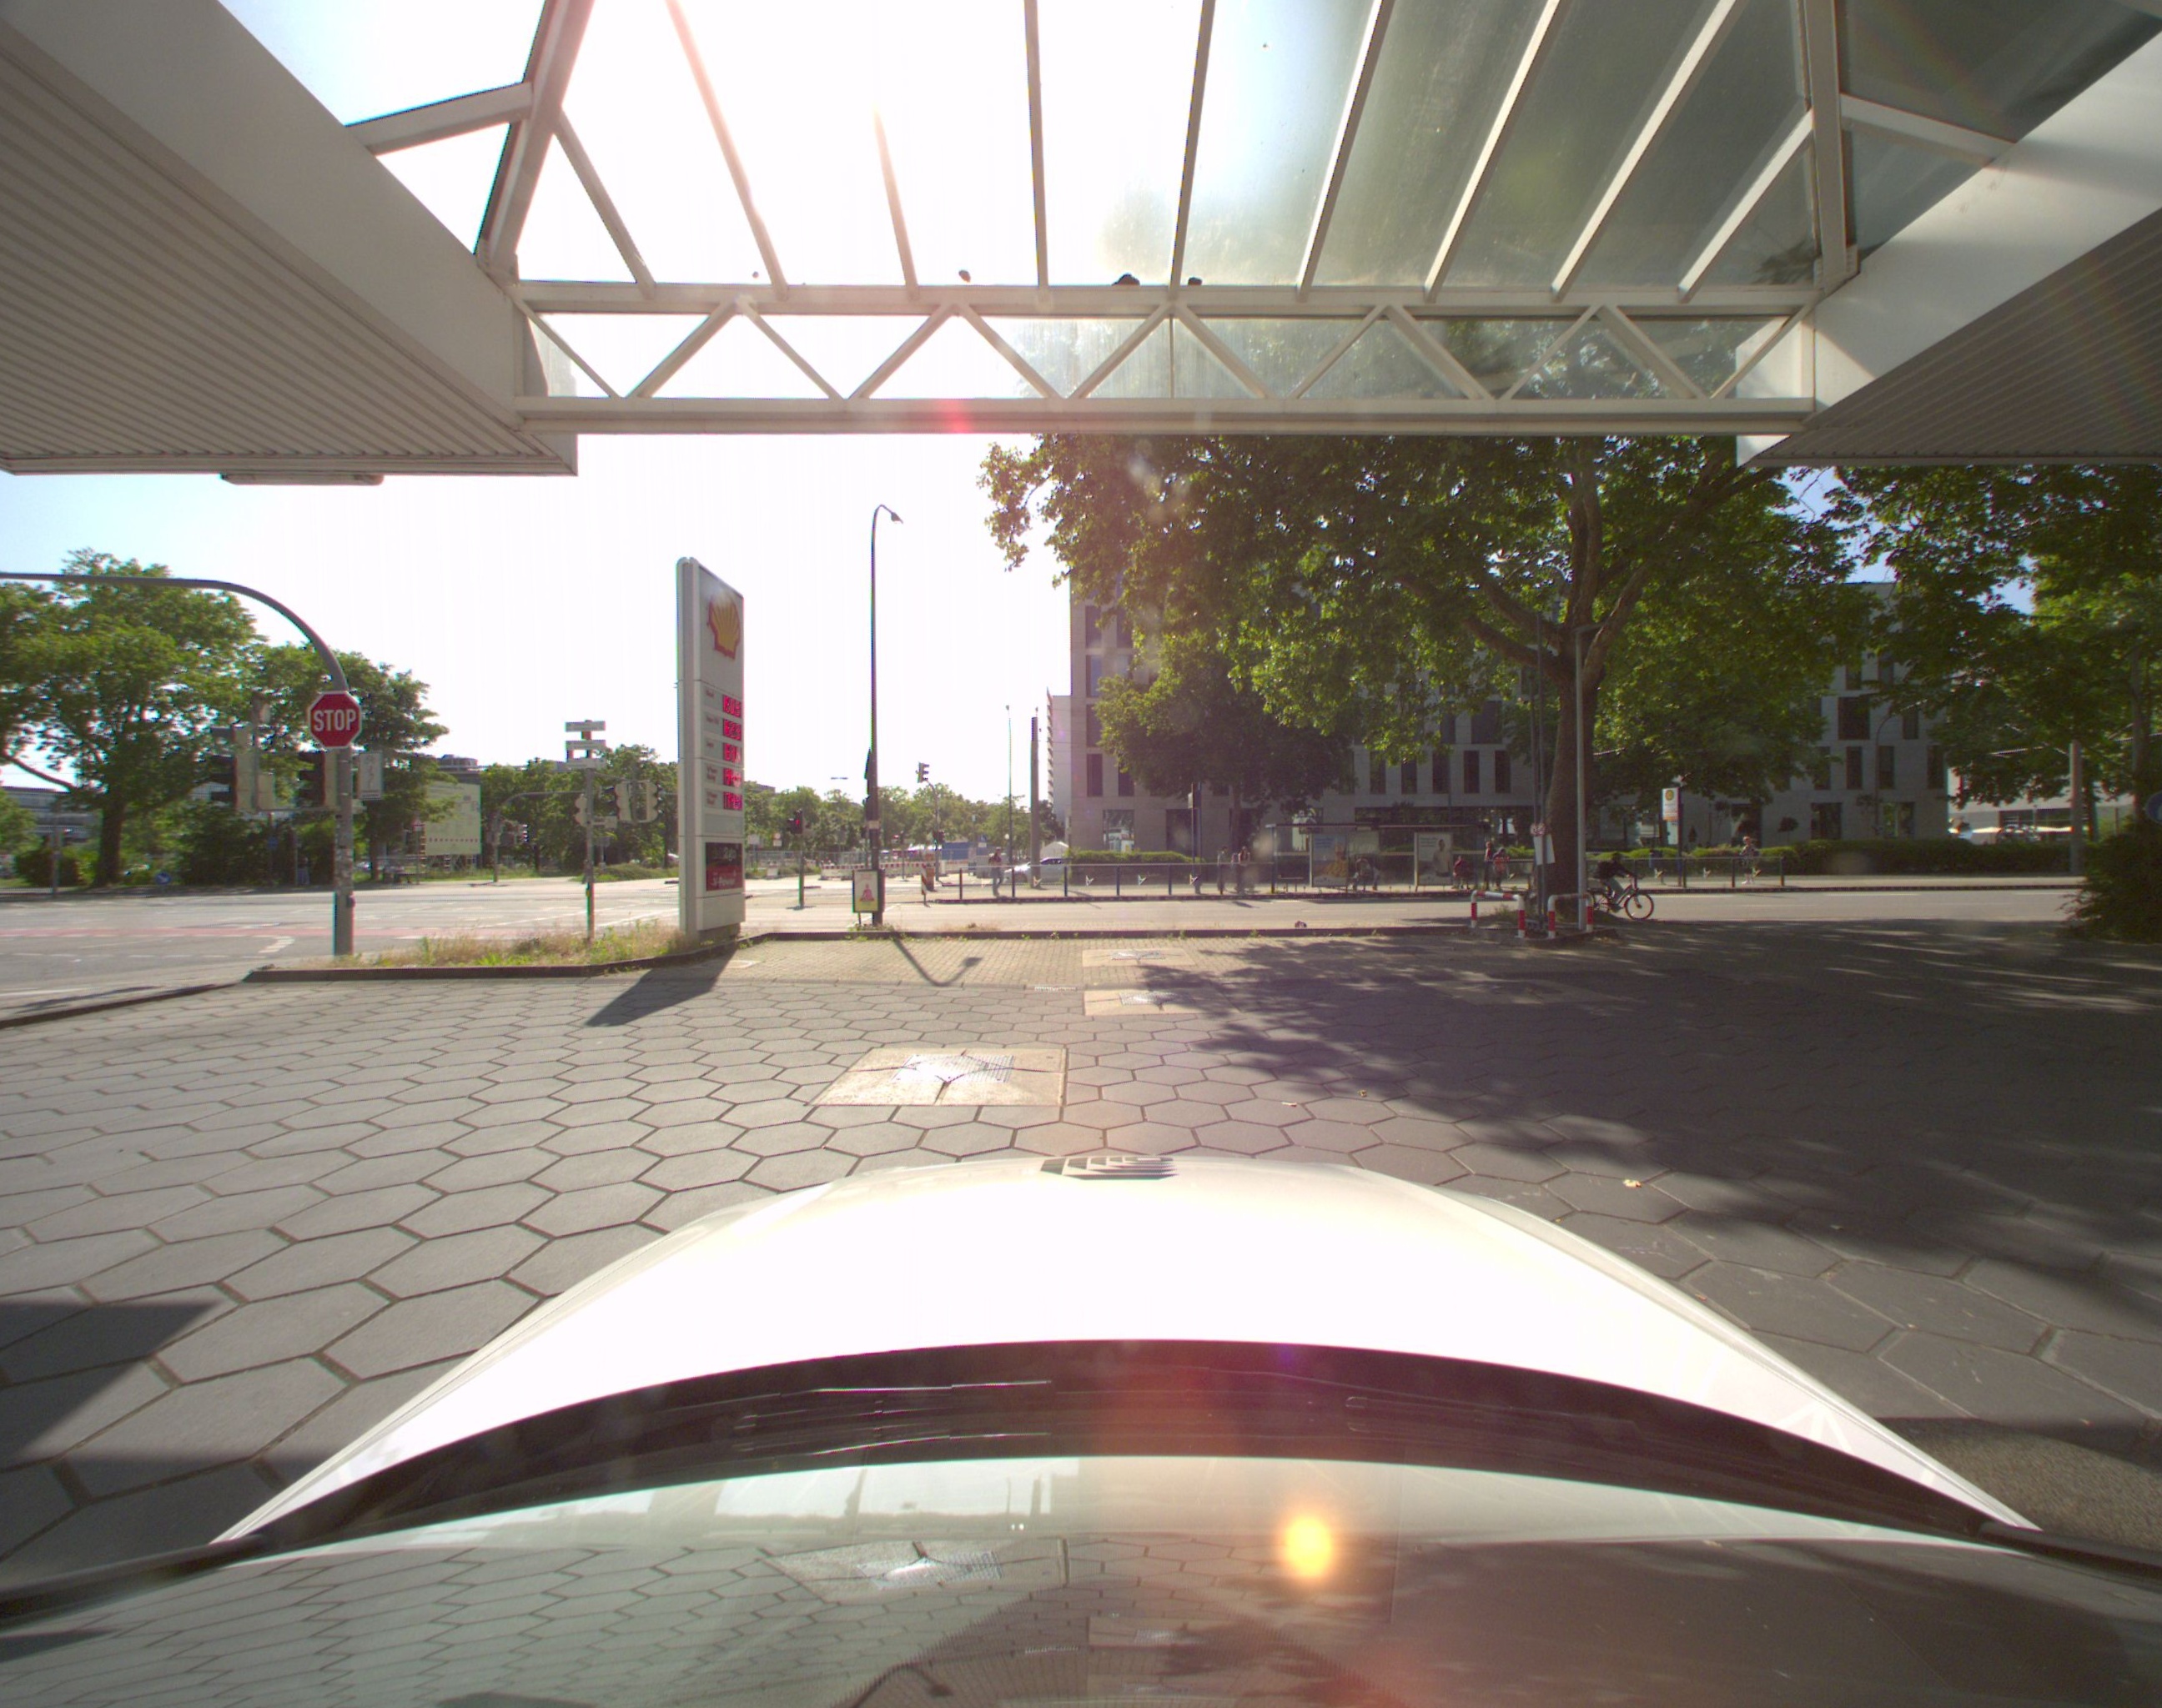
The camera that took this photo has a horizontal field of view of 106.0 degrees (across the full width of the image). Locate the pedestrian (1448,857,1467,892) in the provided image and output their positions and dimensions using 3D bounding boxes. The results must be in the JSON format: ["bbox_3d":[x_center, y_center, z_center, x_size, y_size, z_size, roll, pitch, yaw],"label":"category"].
[{"bbox_3d":[13.309,0.718,28.787,0.497,1.220,0.406,-1,0,2],"label":"pedestrian"}]

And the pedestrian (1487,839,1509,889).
[{"bbox_3d":[14.651,0.332,28.599,0.497,1.735,0.524,-1,0,2],"label":"pedestrian"}]

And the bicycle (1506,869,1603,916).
[{"bbox_3d":[11.361,0.918,19.565,2.015,1.082,0.639,-1,0,-4],"label":"bicycle"}]

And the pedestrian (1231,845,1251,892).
[{"bbox_3d":[5.549,0.500,28.263,0.582,1.591,0.670,-1,1,-1],"label":"pedestrian"}]

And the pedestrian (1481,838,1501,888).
[{"bbox_3d":[15.185,0.341,30.180,0.497,1.826,0.524,-1,0,2],"label":"pedestrian"}]

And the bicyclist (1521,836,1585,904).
[{"bbox_3d":[11.326,0.375,19.577,1.167,1.580,0.639,-1,0,-5],"label":"bicyclist"}]

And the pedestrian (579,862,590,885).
[{"bbox_3d":[-33.315,1.301,54.638,0.566,1.469,0.509,-1,0,-25],"label":"pedestrian"}]

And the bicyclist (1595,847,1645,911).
[{"bbox_3d":[13.333,0.607,20.148,0.860,1.544,0.534,0,-1,-2],"label":"bicyclist"}]

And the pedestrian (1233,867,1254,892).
[{"bbox_3d":[5.821,0.918,29.172,0.686,0.880,0.504,-1,0,8],"label":"pedestrian"}]

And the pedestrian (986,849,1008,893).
[{"bbox_3d":[-2.963,0.602,28.674,0.646,1.540,0.504,-1,0,8],"label":"pedestrian"}]

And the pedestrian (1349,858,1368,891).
[{"bbox_3d":[9.733,0.707,28.566,0.496,1.138,0.525,-1,0,6],"label":"pedestrian"}]

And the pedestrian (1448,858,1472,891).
[{"bbox_3d":[13.345,0.733,28.696,0.625,1.138,0.525,-1,0,6],"label":"pedestrian"}]

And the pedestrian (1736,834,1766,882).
[{"bbox_3d":[24.720,0.147,30.065,0.689,1.735,0.505,-1,0,15],"label":"pedestrian"}]

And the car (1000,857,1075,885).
[{"bbox_3d":[-2.167,0.856,41.414,3.669,1.312,1.592,-1,0,0],"label":"car"}]

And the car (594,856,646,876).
[{"bbox_3d":[-46.238,1.224,81.693,3.969,1.816,2.002,-3,0,3],"label":"car"}]

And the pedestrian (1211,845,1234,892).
[{"bbox_3d":[5.088,0.527,29.291,0.772,1.683,0.504,-1,0,8],"label":"pedestrian"}]

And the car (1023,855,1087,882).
[{"bbox_3d":[-1.553,0.849,48.203,3.677,1.552,1.589,-1,0,-6],"label":"car"}]

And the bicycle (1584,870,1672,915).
[{"bbox_3d":[13.525,0.943,20.165,1.856,1.082,0.524,-1,0,-2],"label":"bicycle"}]
